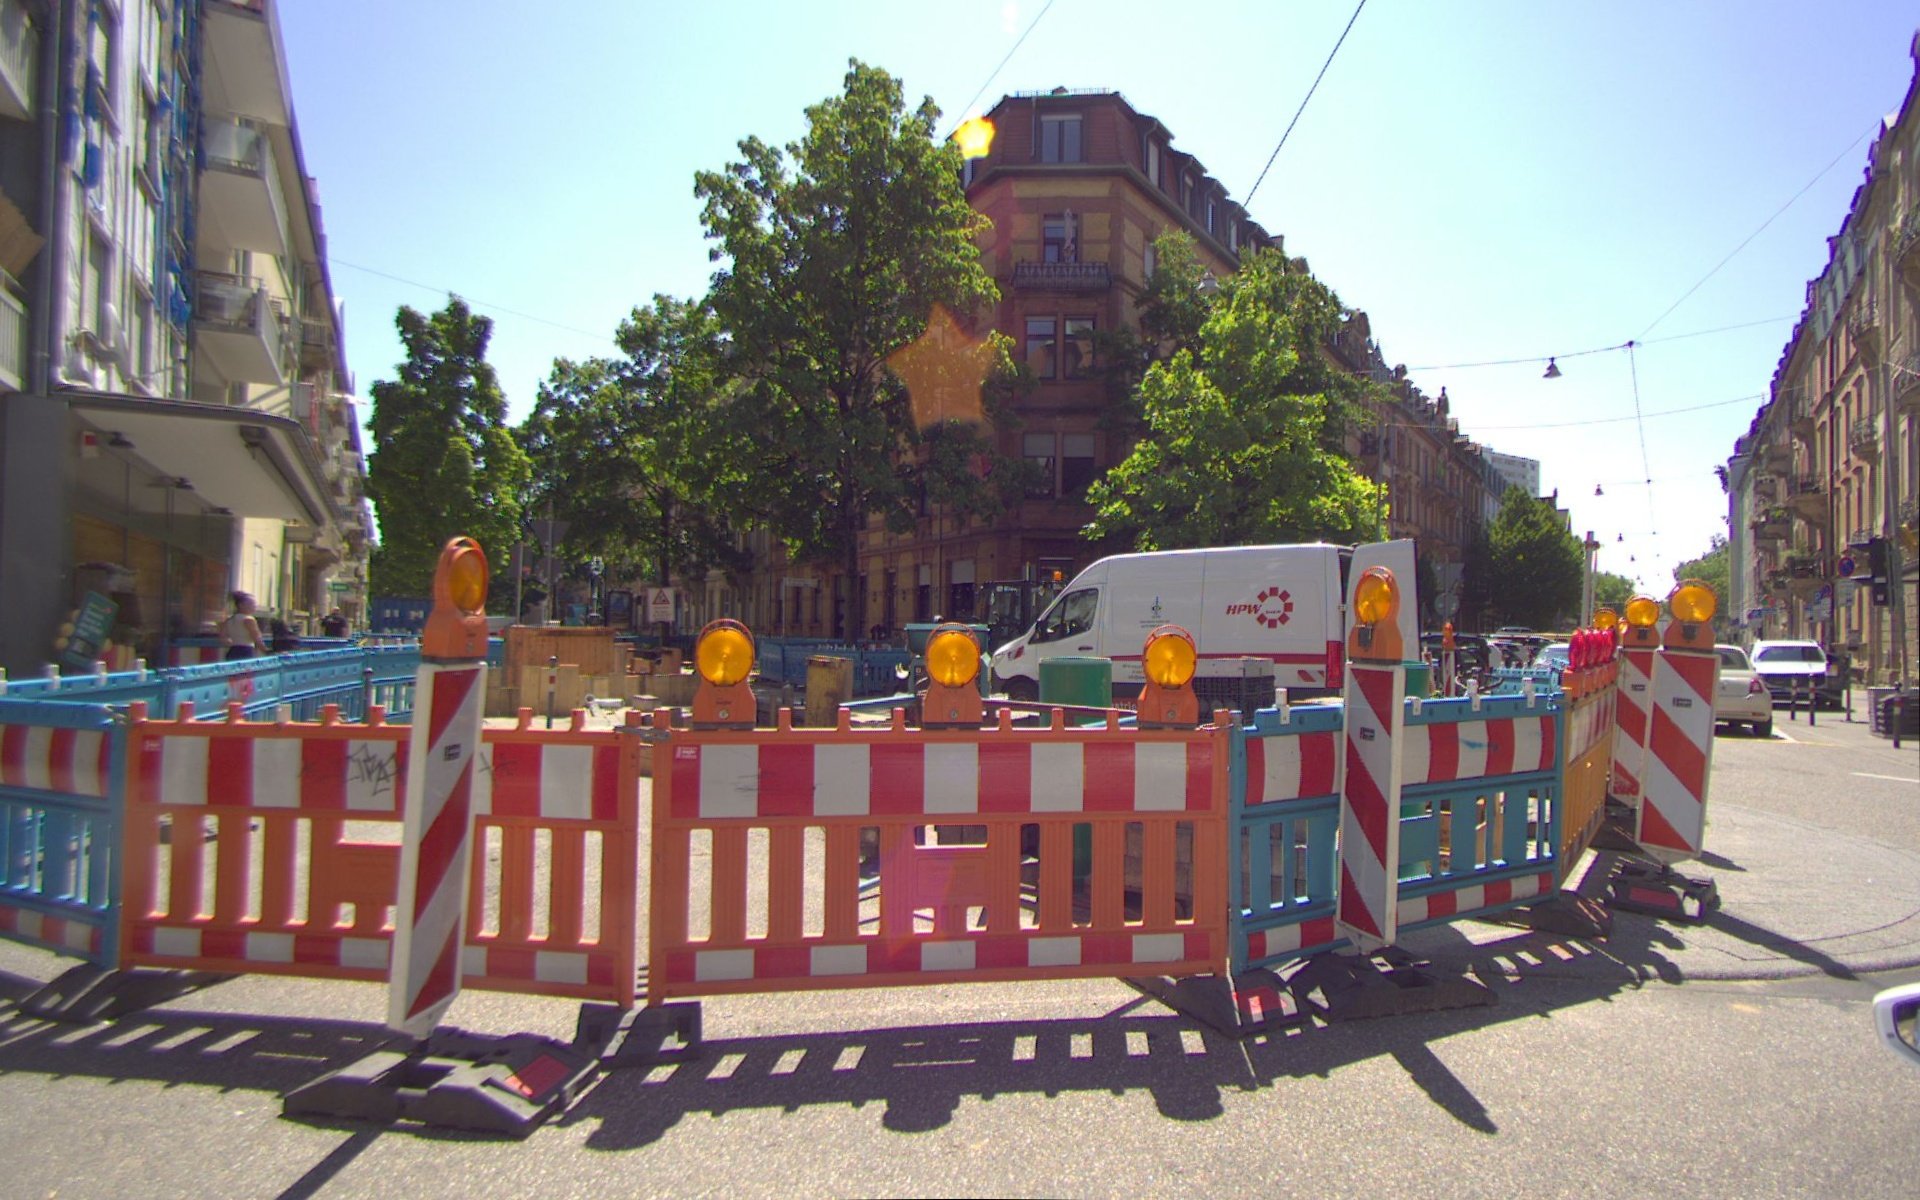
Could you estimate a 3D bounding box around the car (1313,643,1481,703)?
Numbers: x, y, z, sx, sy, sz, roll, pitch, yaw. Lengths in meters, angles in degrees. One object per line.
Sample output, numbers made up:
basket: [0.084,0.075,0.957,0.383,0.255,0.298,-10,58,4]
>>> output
car: [12.282,2.032,28.444,3.919,1.394,2.001,2,-1,7]

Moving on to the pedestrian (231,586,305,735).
pedestrian: [-8.246,0.717,11.984,0.580,1.738,0.389,1,-2,-15]

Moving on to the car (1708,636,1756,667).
car: [37.262,2.475,48.544,1.732,1.448,3.987,-1,-3,36]

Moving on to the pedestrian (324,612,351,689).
pedestrian: [-16.673,1.358,26.909,0.539,2.040,0.410,2,-2,-29]

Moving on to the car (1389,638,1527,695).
car: [17.131,2.270,34.729,3.919,1.680,1.761,2,-1,13]

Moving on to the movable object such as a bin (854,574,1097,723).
movable object such as a bin: [0.276,0.906,20.177,4.479,2.694,1.950,0,-2,32]

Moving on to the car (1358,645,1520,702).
car: [14.347,2.189,30.276,3.920,1.431,1.972,2,-1,4]

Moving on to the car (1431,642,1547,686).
car: [21.754,2.620,41.410,3.848,1.640,1.865,1,-2,-4]

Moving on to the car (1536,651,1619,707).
car: [17.737,2.195,28.769,1.732,1.463,3.987,-1,-3,36]

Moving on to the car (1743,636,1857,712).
car: [21.053,1.814,25.335,1.847,1.735,4.488,-2,-4,36]

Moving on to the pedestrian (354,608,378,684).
pedestrian: [-16.095,1.251,27.221,0.499,2.040,0.443,2,-2,-29]

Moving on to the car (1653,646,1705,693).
car: [27.174,2.590,38.023,1.502,1.613,3.254,0,-2,34]

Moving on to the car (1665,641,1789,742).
car: [13.281,1.503,17.530,1.502,1.541,3.255,0,-2,34]

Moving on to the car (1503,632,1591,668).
car: [38.035,3.216,65.187,4.480,2.216,2.002,1,-2,9]

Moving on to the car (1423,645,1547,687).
car: [20.195,2.522,38.739,3.848,1.489,1.865,1,-2,-5]

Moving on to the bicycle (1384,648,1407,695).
bicycle: [11.007,1.775,25.408,0.483,1.095,1.898,2,-1,23]

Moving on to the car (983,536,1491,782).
car: [3.696,0.635,14.377,6.538,2.788,2.371,2,-1,38]

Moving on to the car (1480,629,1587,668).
car: [31.633,2.661,55.520,4.692,2.020,2.055,1,-2,8]

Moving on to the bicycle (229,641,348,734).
bicycle: [-8.339,1.072,12.464,1.544,1.086,0.342,0,-2,20]

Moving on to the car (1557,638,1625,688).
car: [22.902,2.270,36.396,1.732,1.666,4.363,-4,-4,36]

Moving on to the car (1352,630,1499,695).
car: [14.950,1.988,32.434,3.919,1.828,1.770,2,-1,7]
